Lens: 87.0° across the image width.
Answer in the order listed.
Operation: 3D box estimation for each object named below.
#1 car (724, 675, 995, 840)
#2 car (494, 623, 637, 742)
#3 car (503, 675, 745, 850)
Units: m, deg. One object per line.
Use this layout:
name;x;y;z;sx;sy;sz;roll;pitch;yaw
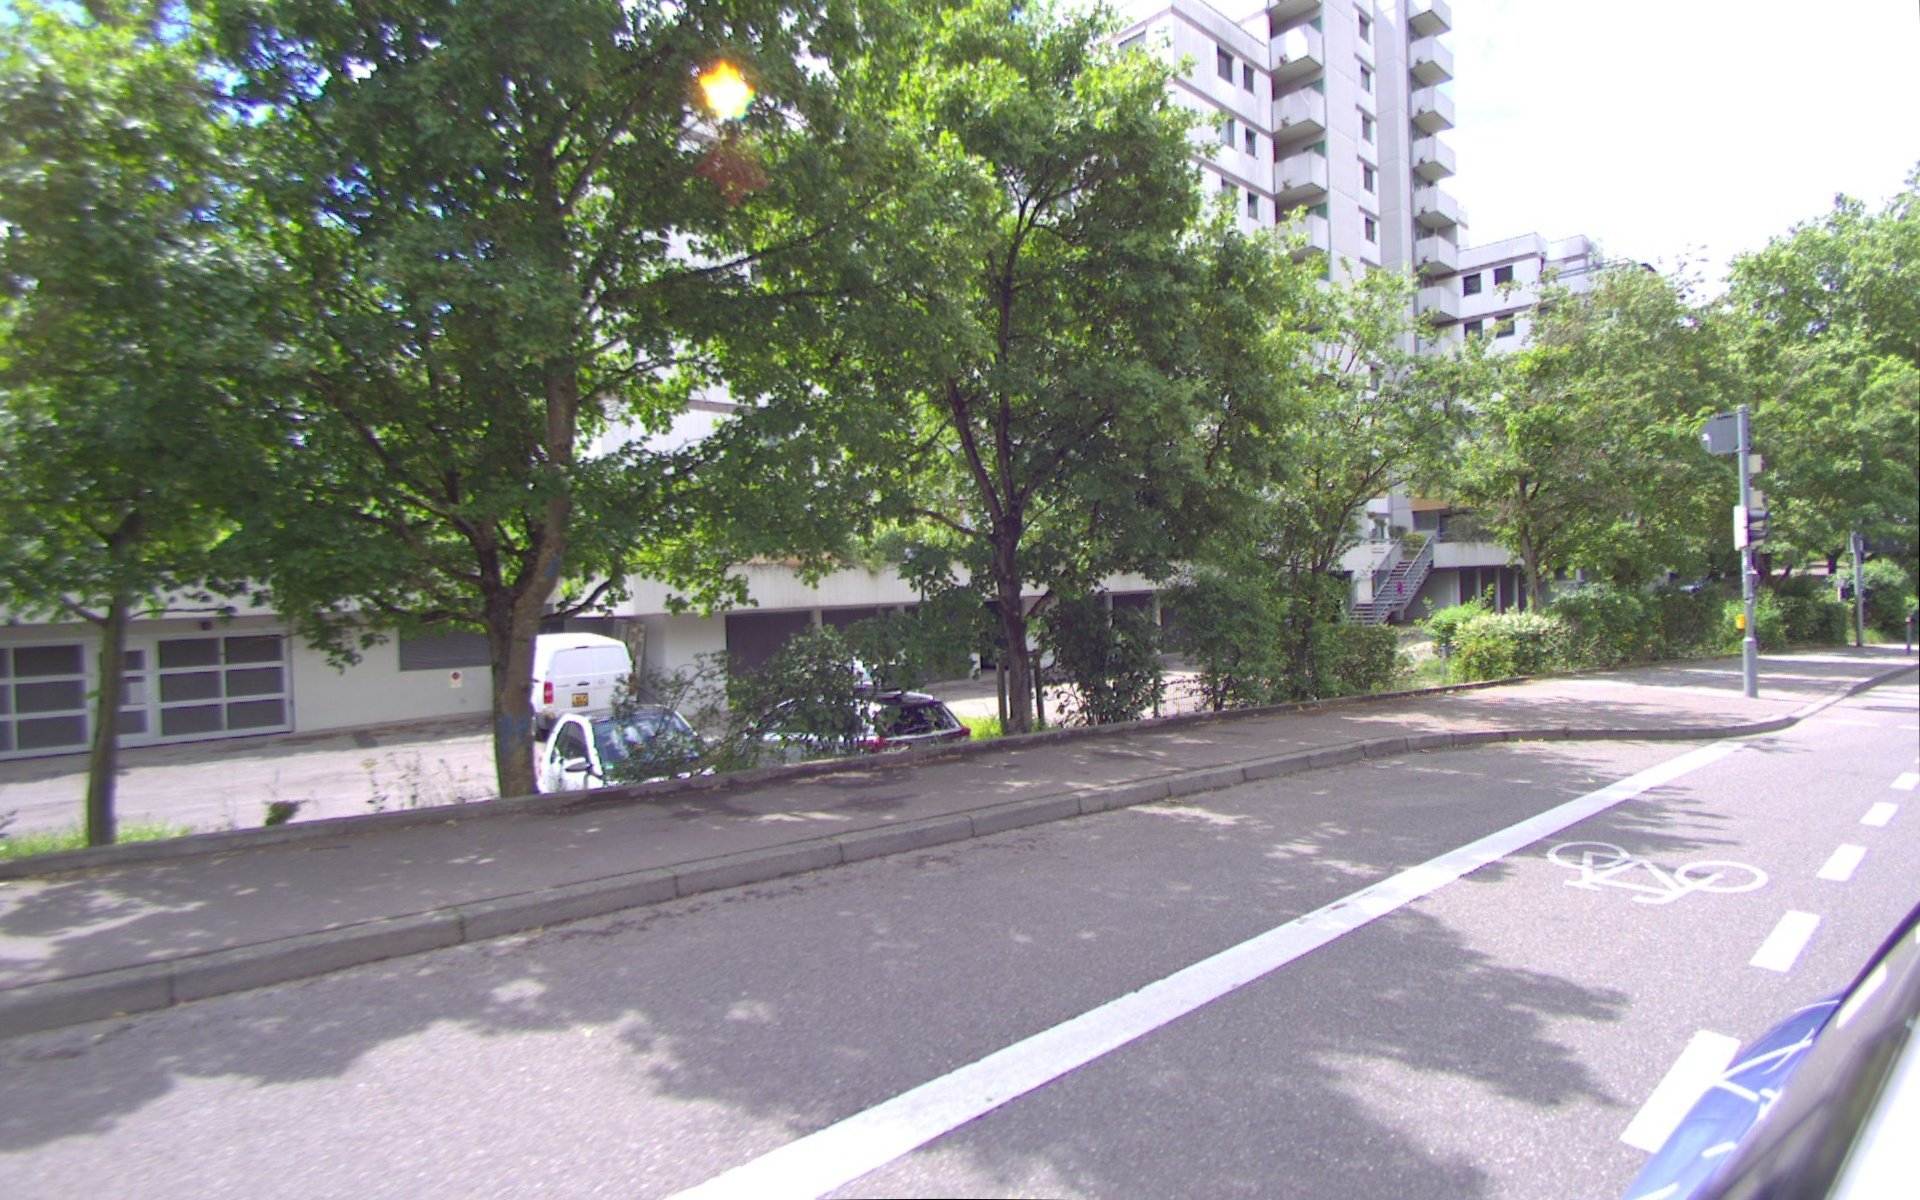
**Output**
car;-1.403;1.855;12.899;1.537;1.450;3.759;-3;2;-40
car;-8.266;1.593;21.002;1.758;1.914;4.000;-3;3;-36
car;-3.999;1.757;11.844;1.694;1.488;2.961;-1;0;-41
